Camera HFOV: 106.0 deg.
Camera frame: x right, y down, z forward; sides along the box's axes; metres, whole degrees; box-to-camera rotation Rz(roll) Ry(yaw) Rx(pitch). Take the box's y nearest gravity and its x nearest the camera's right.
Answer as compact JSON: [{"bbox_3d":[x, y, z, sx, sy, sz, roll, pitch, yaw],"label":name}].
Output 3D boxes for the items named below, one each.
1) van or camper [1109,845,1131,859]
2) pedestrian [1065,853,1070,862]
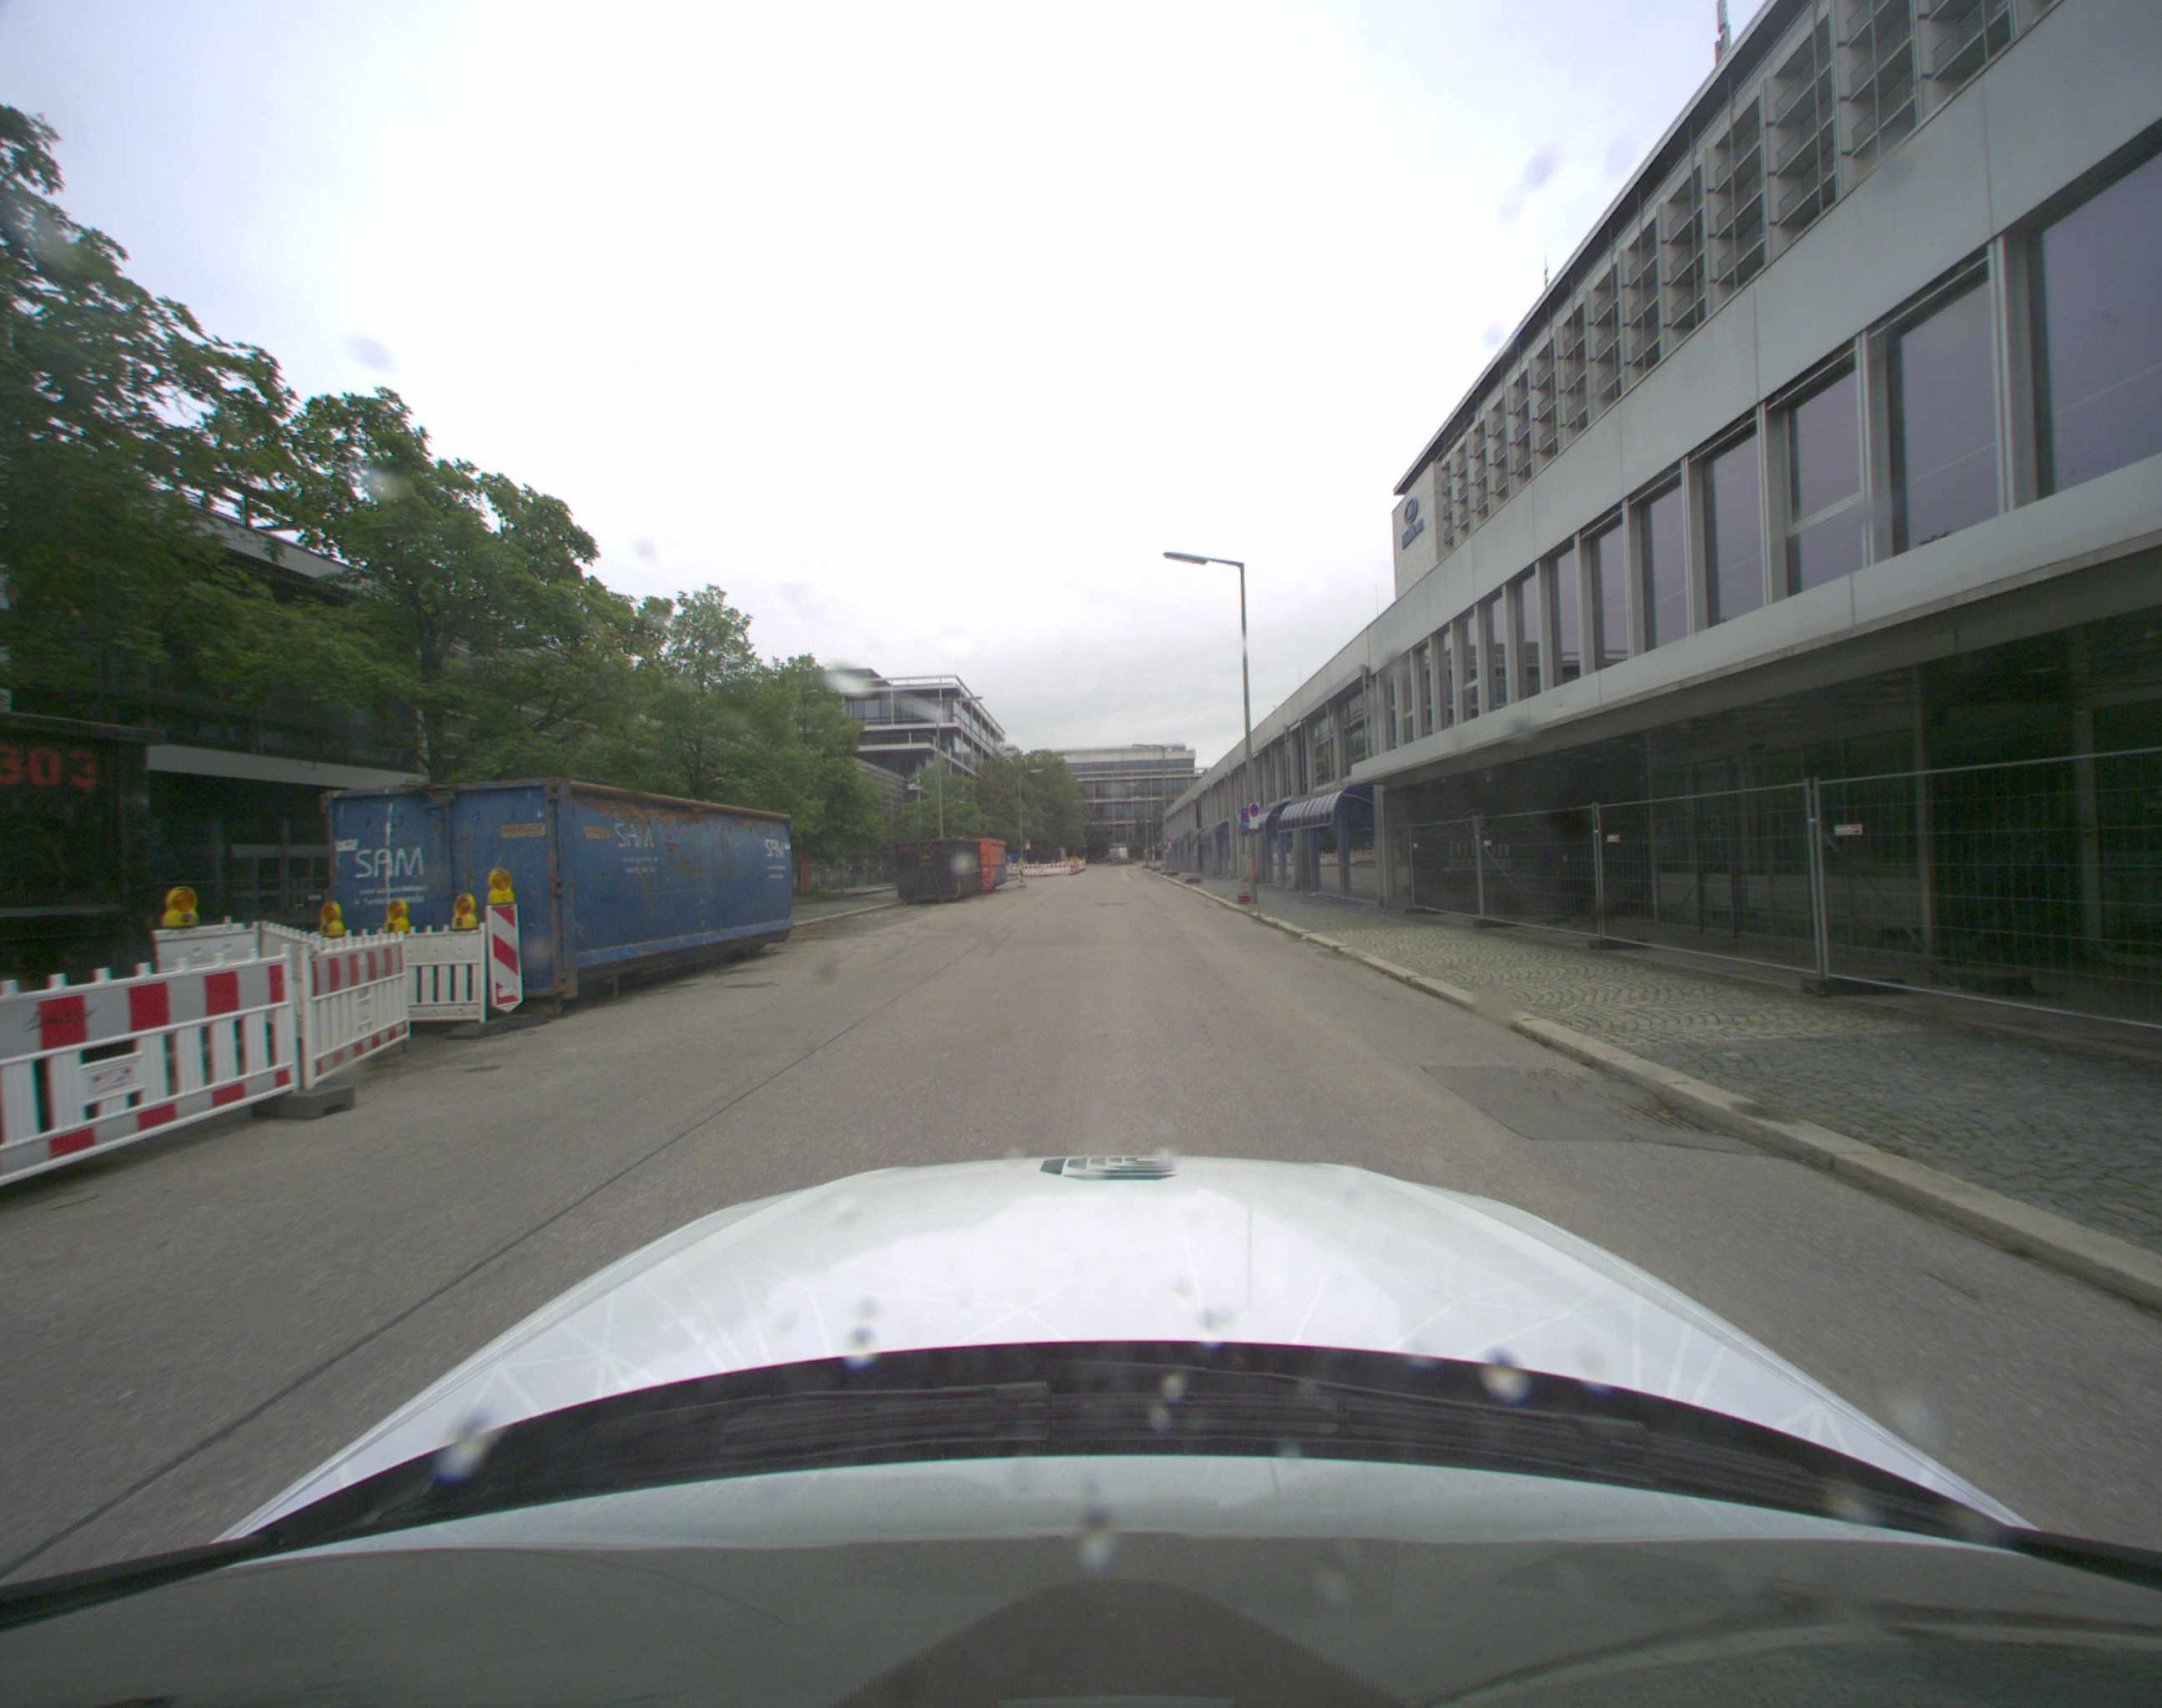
[{"bbox_3d":[7.204,-0.326,151.815,2.095,2.492,5.028,-2,0,-23],"label":"van or camper"},{"bbox_3d":[-2.479,0.634,150.714,0.743,1.677,0.678,-2,0,-17],"label":"pedestrian"}]
